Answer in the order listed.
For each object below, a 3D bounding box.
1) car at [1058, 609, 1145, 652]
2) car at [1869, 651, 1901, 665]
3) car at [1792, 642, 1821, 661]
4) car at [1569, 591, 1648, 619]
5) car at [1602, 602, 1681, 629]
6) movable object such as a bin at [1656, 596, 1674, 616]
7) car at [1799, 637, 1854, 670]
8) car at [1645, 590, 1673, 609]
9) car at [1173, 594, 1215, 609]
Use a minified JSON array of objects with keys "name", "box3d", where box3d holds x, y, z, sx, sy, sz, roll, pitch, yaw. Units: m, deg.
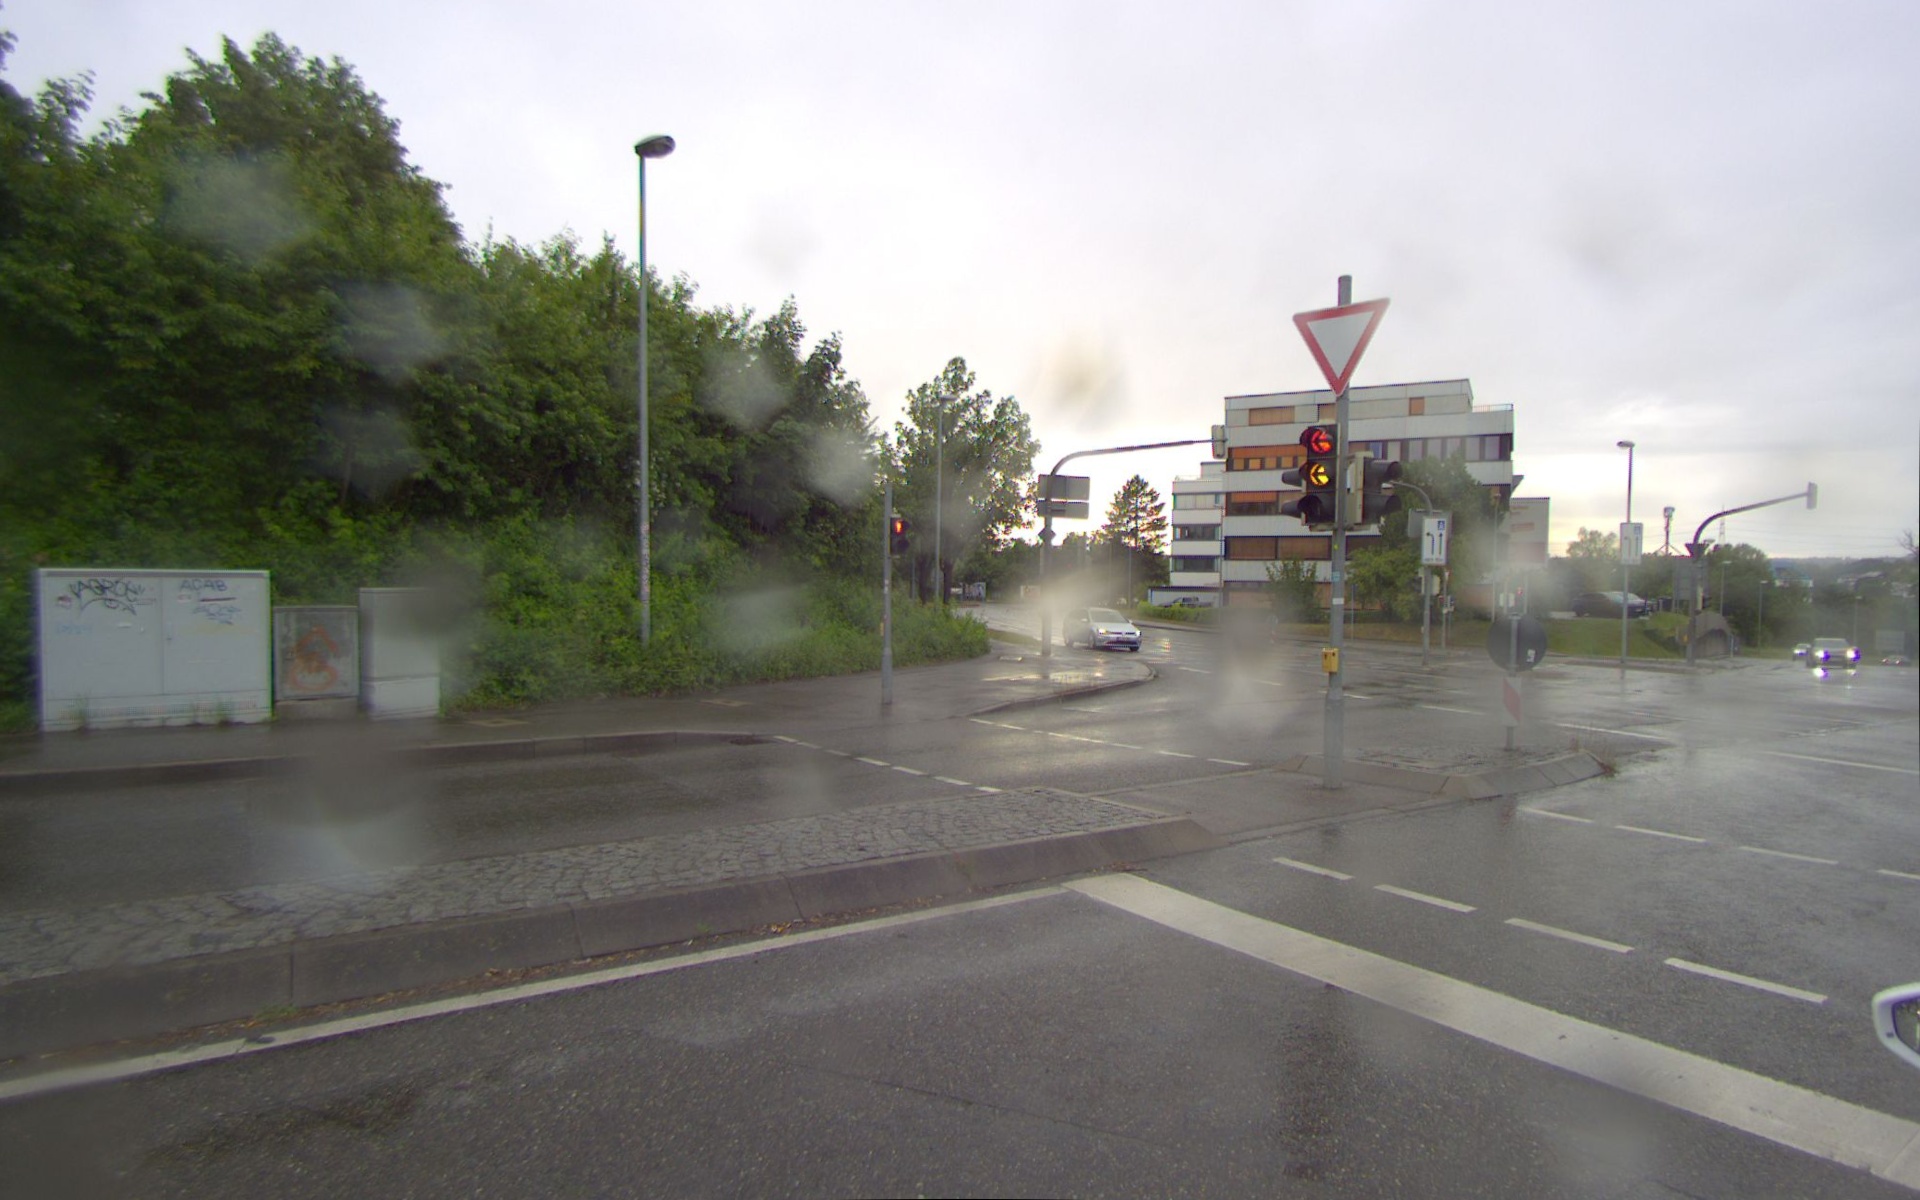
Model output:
[{"name":"car","box3d":[5.073,1.068,36.627,1.731,1.381,4.523,2,0,-11]},{"name":"car","box3d":[112.011,6.988,121.610,3.957,1.475,1.887,1,1,-33]},{"name":"car","box3d":[72.871,4.436,86.452,1.701,1.514,3.979,2,-1,42]},{"name":"car","box3d":[42.438,0.296,65.807,1.874,1.607,3.981,4,0,-21]},{"name":"car","box3d":[45.140,1.007,66.653,1.872,1.607,3.985,4,0,-17]},{"name":"movable object such as a bin","box3d":[55.727,0.492,79.387,1.069,1.456,1.443,3,0,34]},{"name":"car","box3d":[44.051,2.677,51.136,1.639,1.514,3.988,2,-1,35]},{"name":"car","box3d":[61.155,-0.021,87.955,1.802,1.461,3.990,3,-1,33]},{"name":"car","box3d":[22.398,0.134,96.153,3.686,1.418,2.000,1,1,19]}]
